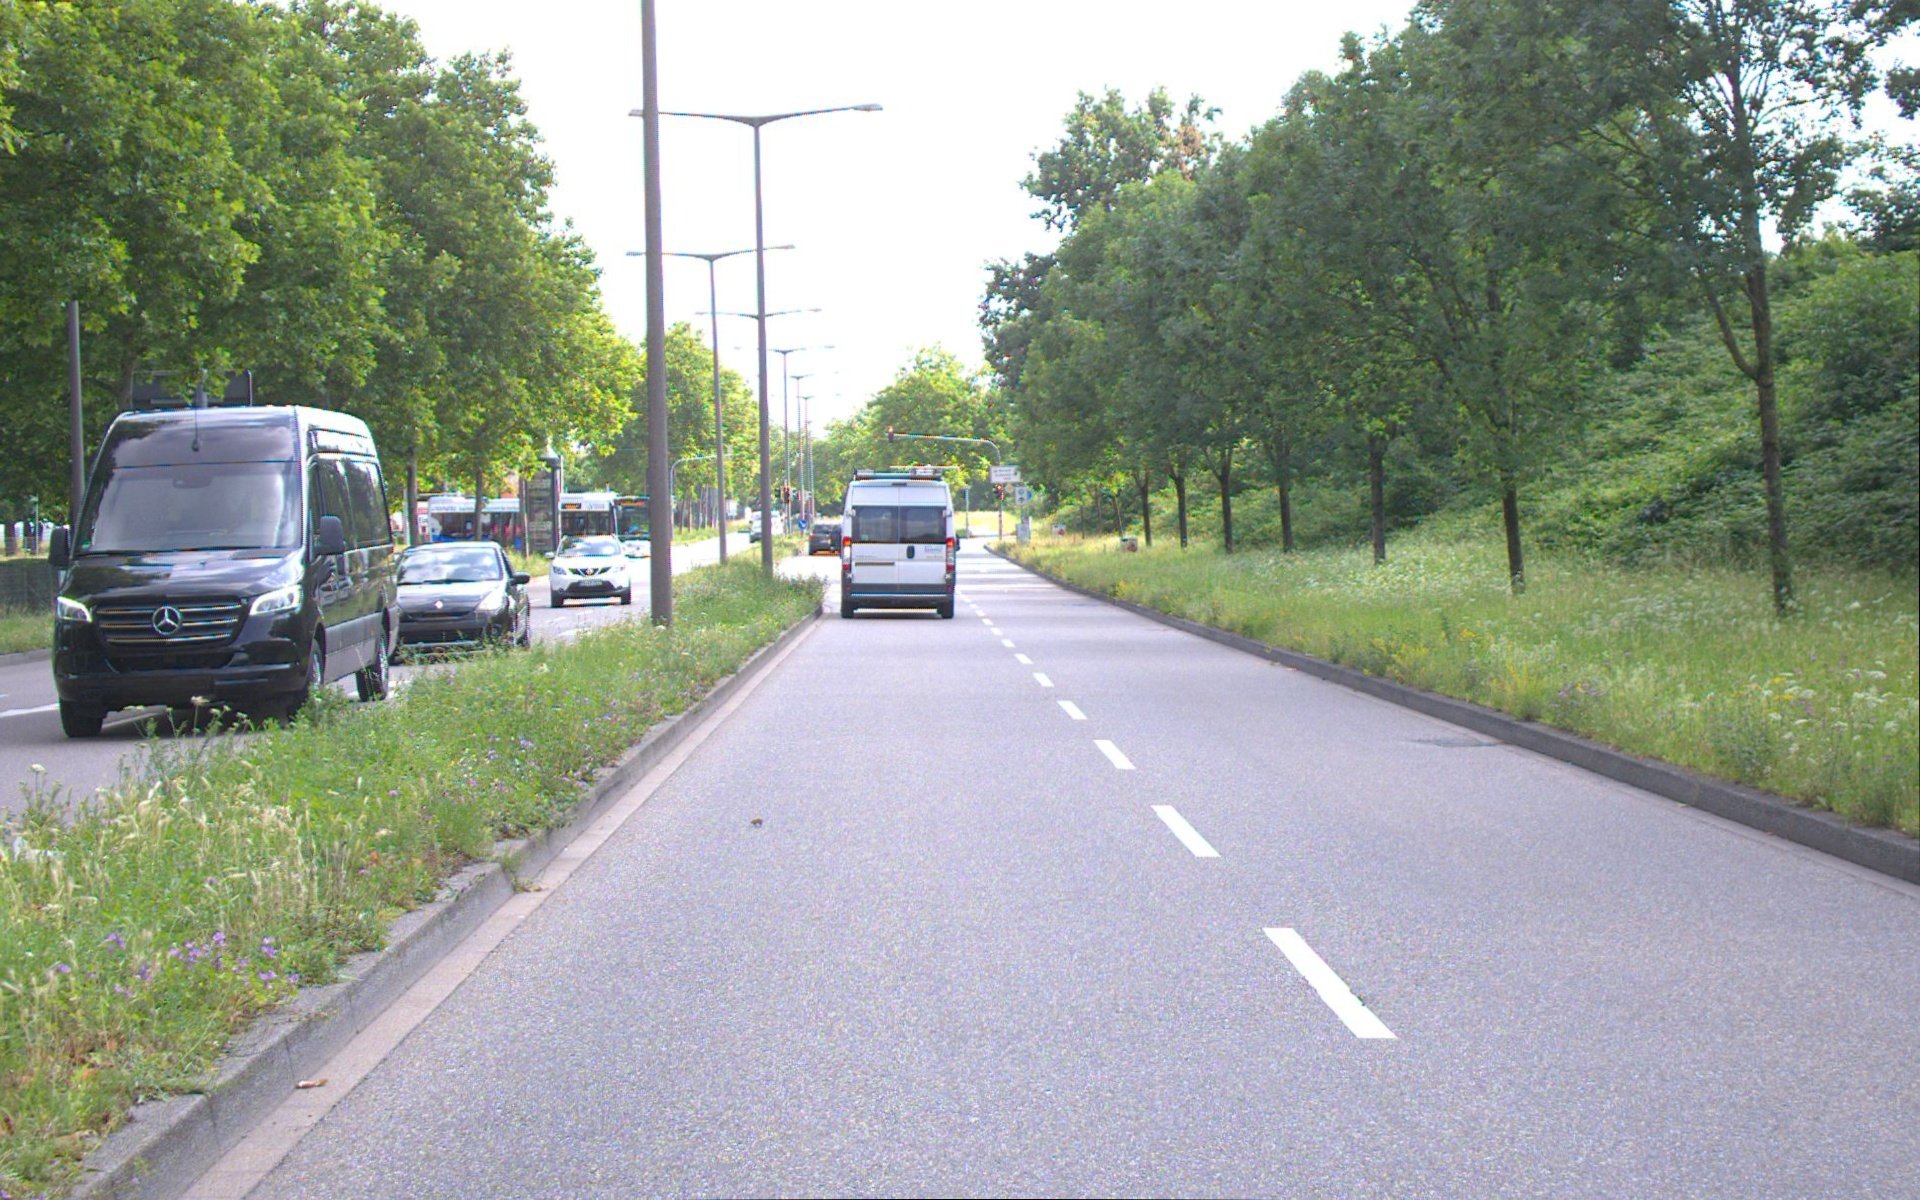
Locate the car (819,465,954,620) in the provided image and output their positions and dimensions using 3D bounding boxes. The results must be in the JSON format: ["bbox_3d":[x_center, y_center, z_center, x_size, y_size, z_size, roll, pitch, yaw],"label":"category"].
[{"bbox_3d":[-1.387,-1.080,62.859,2.197,2.717,4.932,0,2,-4],"label":"car"}]

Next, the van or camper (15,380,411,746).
[{"bbox_3d":[-6.092,-0.320,28.945,2.104,2.650,6.718,-2,1,-3],"label":"van or camper"}]

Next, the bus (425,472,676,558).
[{"bbox_3d":[-18.348,-3.763,153.274,12.322,3.263,3.113,-2,1,37],"label":"bus"}]

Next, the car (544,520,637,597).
[{"bbox_3d":[-8.434,-0.960,78.763,1.813,1.634,4.352,-3,1,-3],"label":"car"}]

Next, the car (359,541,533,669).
[{"bbox_3d":[-6.333,0.044,42.704,1.694,1.459,3.941,-2,0,-3],"label":"car"}]
